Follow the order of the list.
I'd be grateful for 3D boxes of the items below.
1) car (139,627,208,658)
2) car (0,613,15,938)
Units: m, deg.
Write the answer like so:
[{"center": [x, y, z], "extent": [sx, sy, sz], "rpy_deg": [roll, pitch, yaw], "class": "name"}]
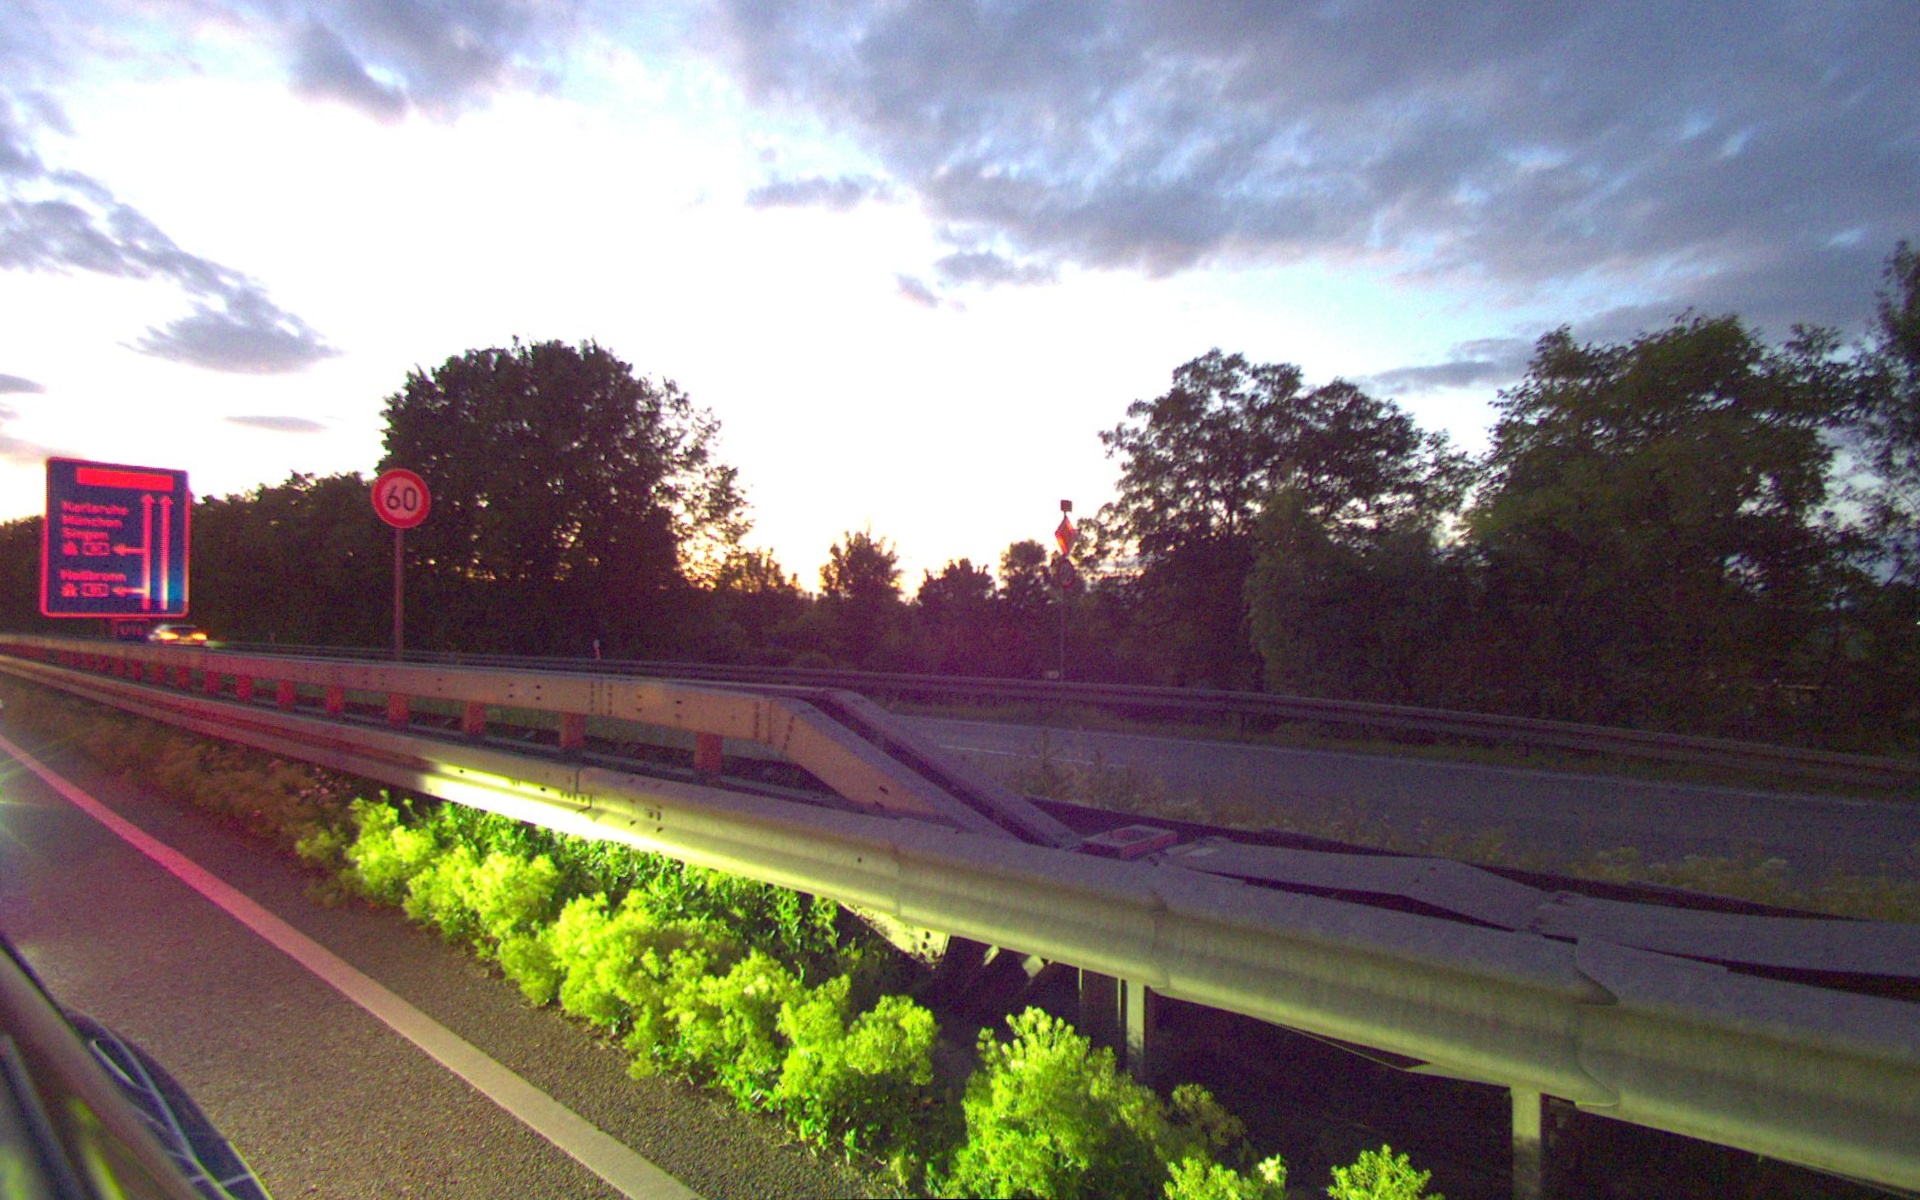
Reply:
[{"center": [-39.791, 2.125, 51.173], "extent": [4.295, 1.530, 1.973], "rpy_deg": [-2, -2, 41], "class": "car"}, {"center": [-6.702, 0.850, 5.446], "extent": [4.511, 1.492, 1.877], "rpy_deg": [-1, -1, 40], "class": "car"}]
